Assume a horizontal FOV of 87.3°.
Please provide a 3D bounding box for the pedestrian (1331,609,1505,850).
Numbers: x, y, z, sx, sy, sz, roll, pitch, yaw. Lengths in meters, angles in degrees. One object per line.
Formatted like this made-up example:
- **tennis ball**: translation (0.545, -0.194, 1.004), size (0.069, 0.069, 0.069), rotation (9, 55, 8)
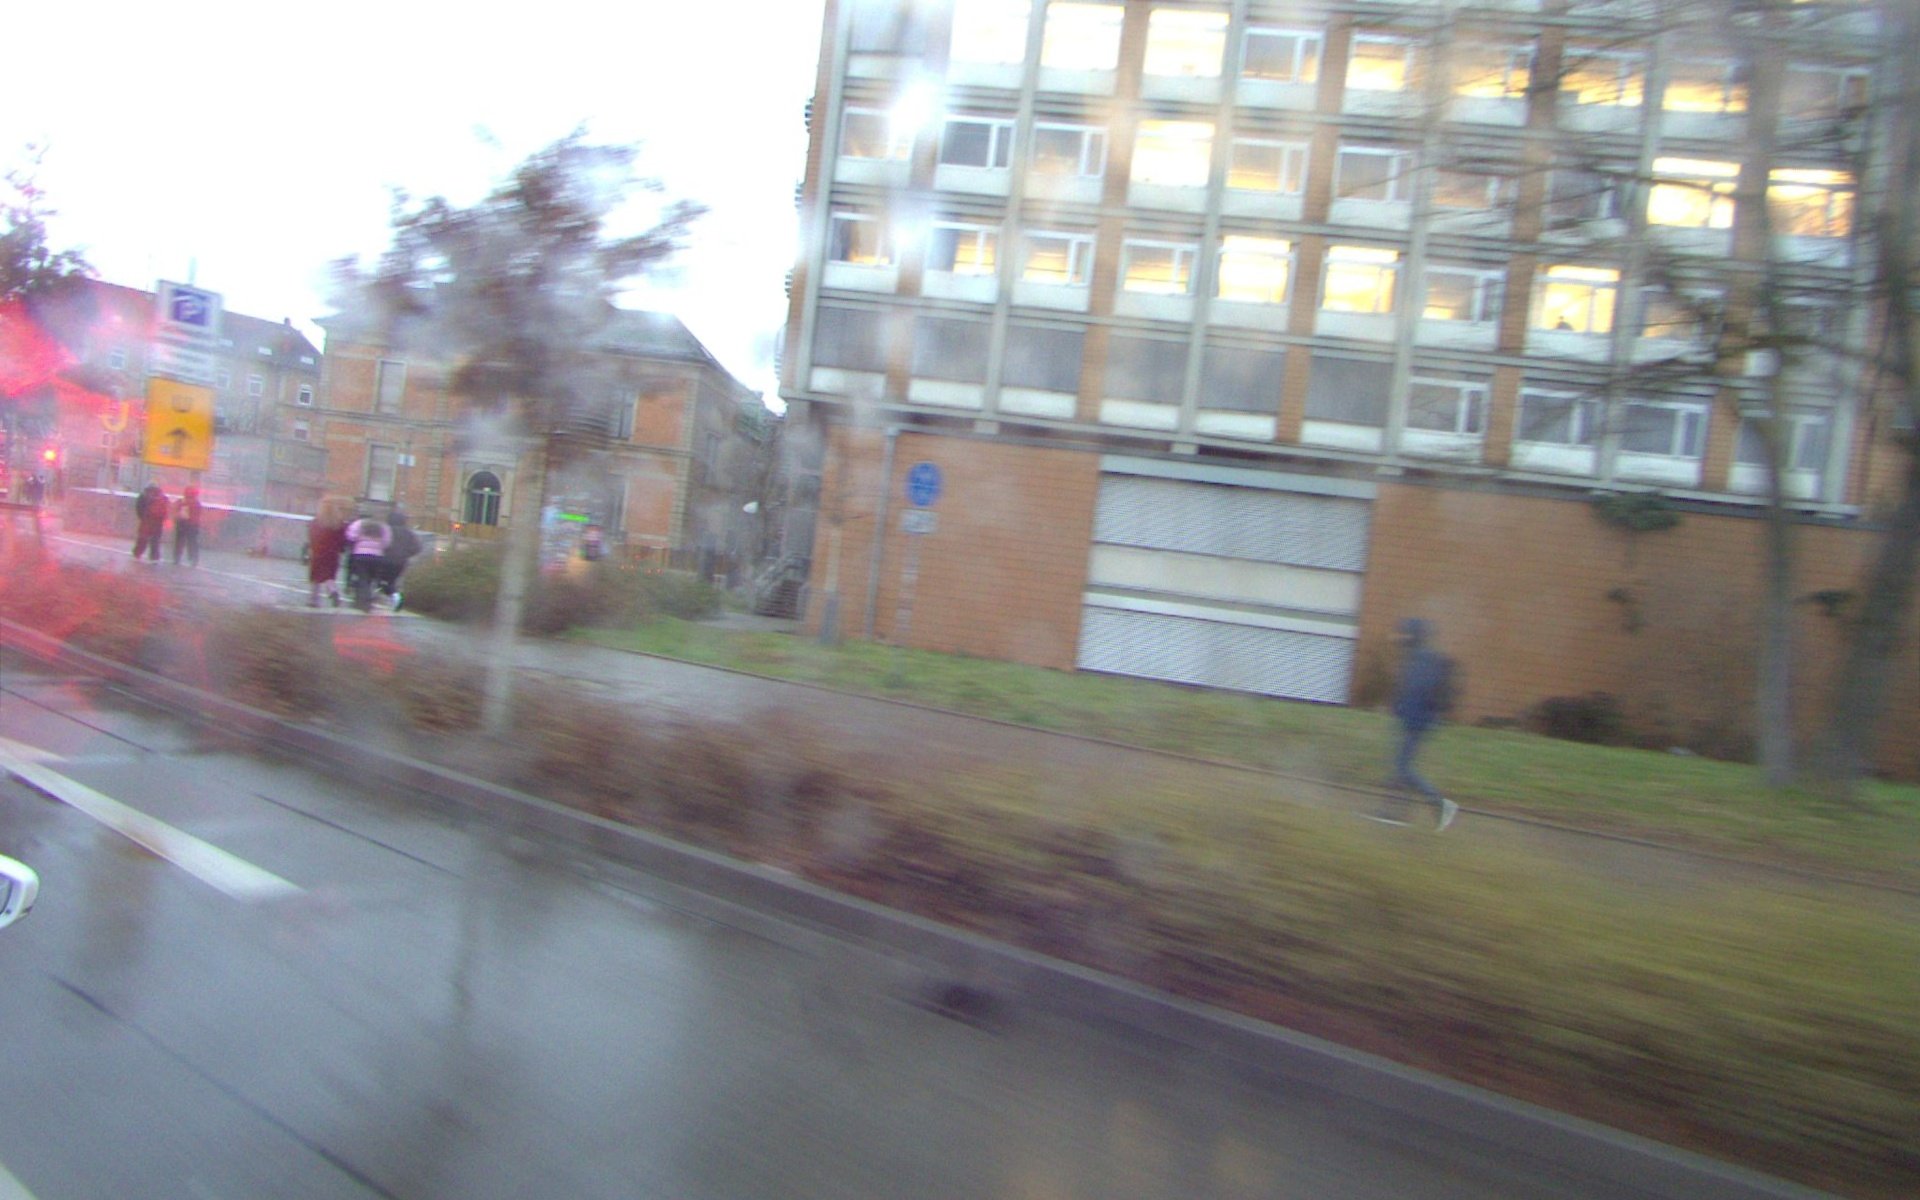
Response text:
- **pedestrian**: translation (3.712, 0.992, 8.152), size (1.052, 1.710, 0.808), rotation (7, 2, 28)

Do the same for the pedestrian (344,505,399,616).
- **pedestrian**: translation (-9.545, -0.643, 16.324), size (0.662, 1.711, 0.606), rotation (4, 4, -31)

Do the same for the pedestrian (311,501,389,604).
- **pedestrian**: translation (-11.563, -0.892, 19.093), size (0.735, 1.814, 0.854), rotation (7, 1, 17)

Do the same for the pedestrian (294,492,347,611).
- **pedestrian**: translation (-10.184, -0.767, 16.043), size (0.579, 1.805, 0.763), rotation (4, 2, -31)

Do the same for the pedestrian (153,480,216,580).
- **pedestrian**: translation (-16.910, -1.522, 21.960), size (0.802, 2.039, 0.753), rotation (8, 2, -31)

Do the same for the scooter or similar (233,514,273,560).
- **scooter or similar**: translation (-20.407, -1.814, 29.052), size (0.507, 1.229, 1.376), rotation (6, 0, -20)

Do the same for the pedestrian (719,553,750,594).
- **pedestrian**: translation (-10.325, -1.207, 46.093), size (0.788, 1.726, 0.916), rotation (7, 1, 29)

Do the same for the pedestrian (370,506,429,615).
- **pedestrian**: translation (-9.456, -0.665, 16.954), size (0.712, 1.709, 0.754), rotation (6, 1, -31)

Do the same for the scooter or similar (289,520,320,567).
- **scooter or similar**: translation (-18.491, -1.591, 28.377), size (0.508, 1.229, 1.373), rotation (6, 0, -28)

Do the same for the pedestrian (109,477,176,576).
- **pedestrian**: translation (-17.435, -1.575, 21.477), size (0.802, 1.954, 0.753), rotation (8, 2, -31)
